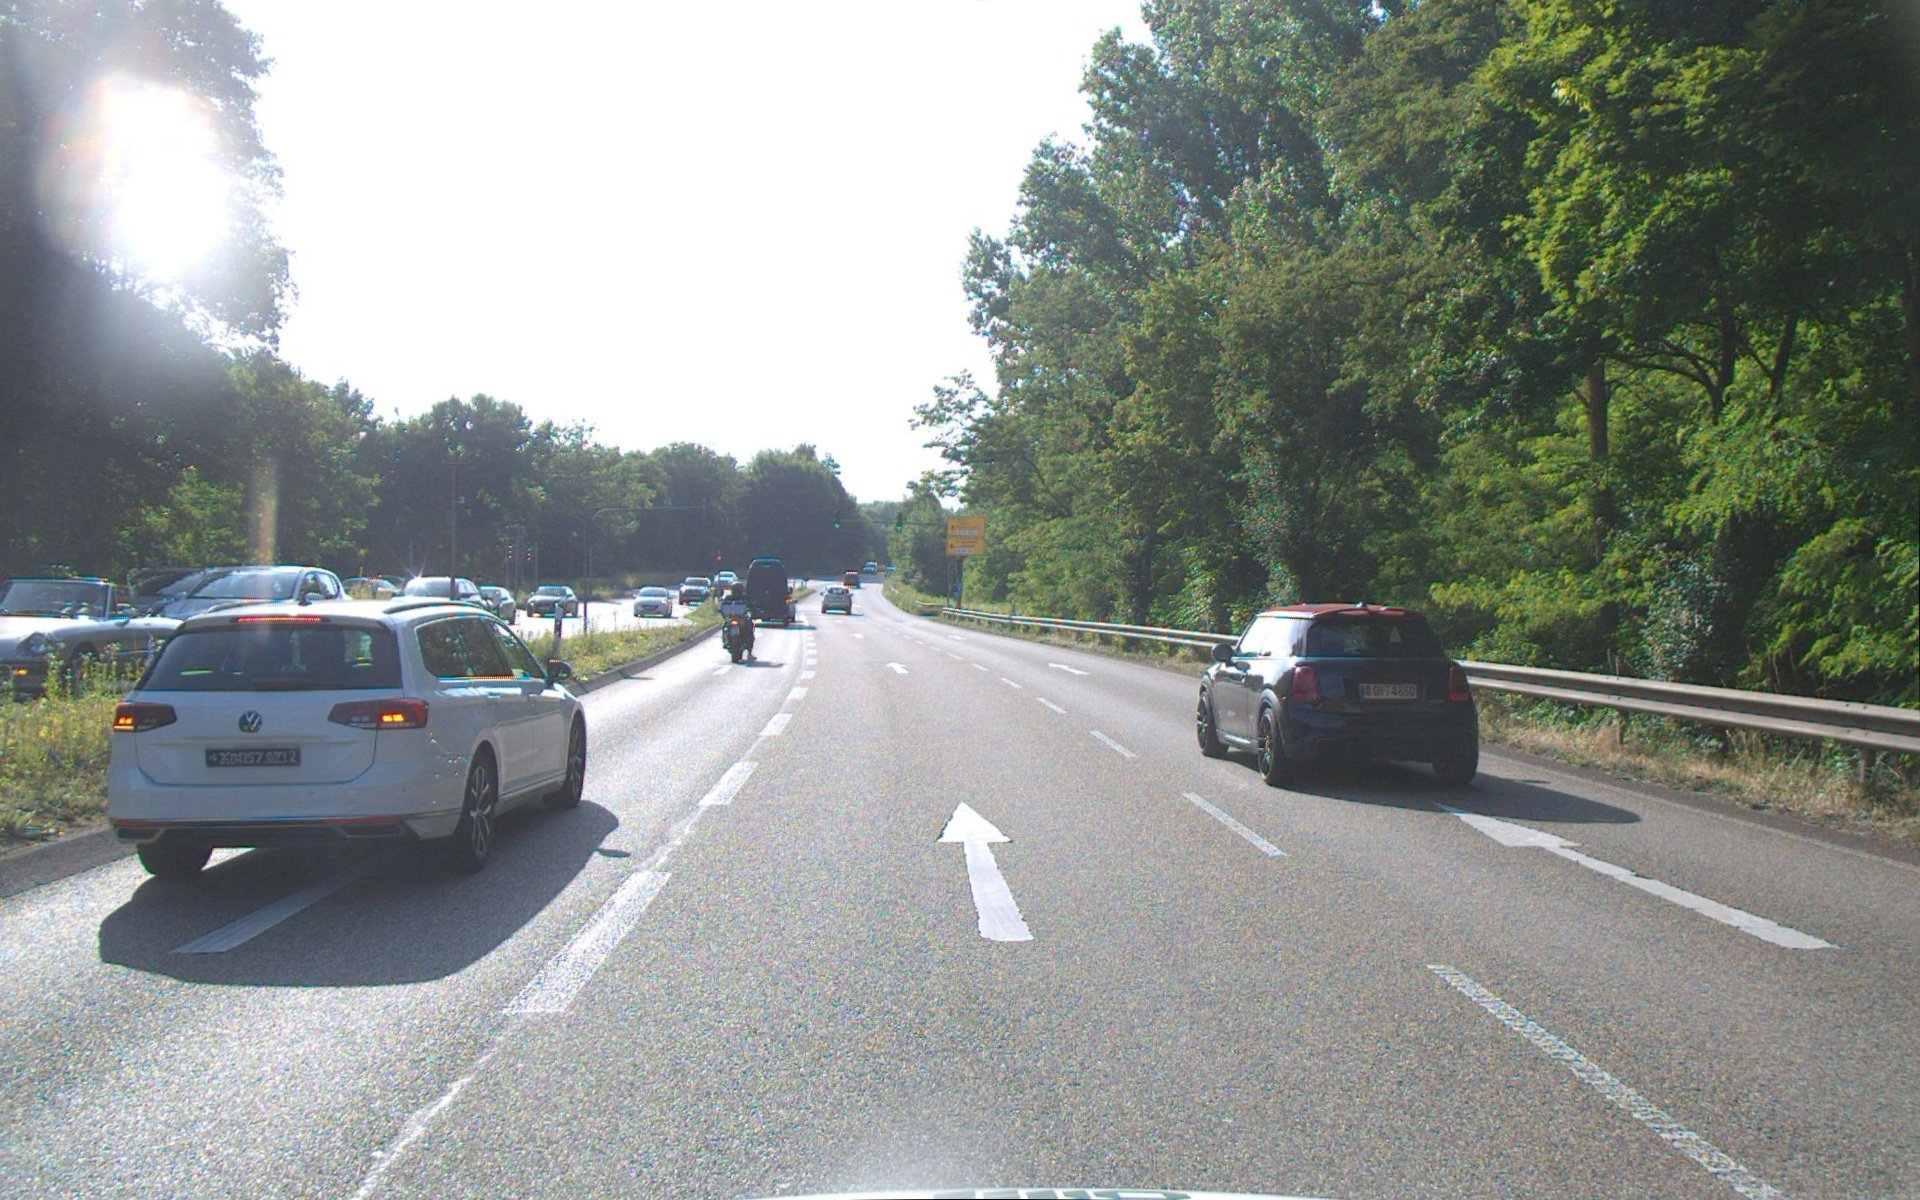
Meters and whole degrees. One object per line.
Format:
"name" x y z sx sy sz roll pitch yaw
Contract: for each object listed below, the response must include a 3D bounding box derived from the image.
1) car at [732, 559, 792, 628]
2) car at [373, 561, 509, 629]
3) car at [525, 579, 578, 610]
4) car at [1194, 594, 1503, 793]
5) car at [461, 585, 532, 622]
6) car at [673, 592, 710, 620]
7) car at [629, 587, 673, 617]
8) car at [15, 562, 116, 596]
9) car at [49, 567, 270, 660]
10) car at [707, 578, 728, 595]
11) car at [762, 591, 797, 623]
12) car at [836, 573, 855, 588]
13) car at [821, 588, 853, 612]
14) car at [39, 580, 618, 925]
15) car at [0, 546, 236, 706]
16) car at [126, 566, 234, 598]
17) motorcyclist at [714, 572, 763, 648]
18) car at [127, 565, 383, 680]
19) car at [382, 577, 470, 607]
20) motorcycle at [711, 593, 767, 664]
"car" -8.776 -0.299 73.951 2.165 2.939 7.007 0 1 -3
"car" -14.194 -0.153 45.643 2.061 1.738 6.222 0 1 -3
"car" -19.300 -0.277 78.296 1.753 1.431 4.749 1 1 -5
"car" 3.260 0.712 14.659 1.782 1.493 3.872 1 0 -1
"car" -18.089 0.122 64.690 1.703 1.402 4.373 0 1 -3
"car" -17.684 0.364 109.089 2.036 1.794 4.751 0 1 -6
"car" -15.675 0.080 83.972 1.753 1.436 4.222 3 0 -5
"car" -51.177 -1.197 94.701 4.541 1.757 2.193 3 0 3
"car" -13.656 0.191 28.517 1.830 1.486 4.413 0 1 -3
"car" -22.148 -1.219 151.132 1.848 1.529 4.258 0 1 -8
"car" -8.870 0.335 81.532 1.613 1.515 4.100 0 1 -5
"car" -12.175 -2.056 175.903 1.711 1.564 3.920 3 0 -7
"car" -7.550 -0.022 102.011 1.726 1.404 3.970 2 0 -2
"car" -3.510 0.708 10.322 1.832 1.548 4.832 3 0 -2
"car" -9.223 0.213 17.063 1.731 1.442 4.432 0 1 -3
"car" -44.377 -1.019 94.188 4.949 1.516 2.448 3 0 3
"motorcyclist" -4.963 0.212 37.120 0.866 1.644 1.290 2 0 -1
"car" -9.615 0.259 22.970 1.830 1.442 4.413 0 1 -3
"car" -30.613 -0.453 94.942 4.315 1.516 2.001 3 0 4
"motorcycle" -4.929 0.601 37.037 0.890 1.479 2.688 -2 1 -1
